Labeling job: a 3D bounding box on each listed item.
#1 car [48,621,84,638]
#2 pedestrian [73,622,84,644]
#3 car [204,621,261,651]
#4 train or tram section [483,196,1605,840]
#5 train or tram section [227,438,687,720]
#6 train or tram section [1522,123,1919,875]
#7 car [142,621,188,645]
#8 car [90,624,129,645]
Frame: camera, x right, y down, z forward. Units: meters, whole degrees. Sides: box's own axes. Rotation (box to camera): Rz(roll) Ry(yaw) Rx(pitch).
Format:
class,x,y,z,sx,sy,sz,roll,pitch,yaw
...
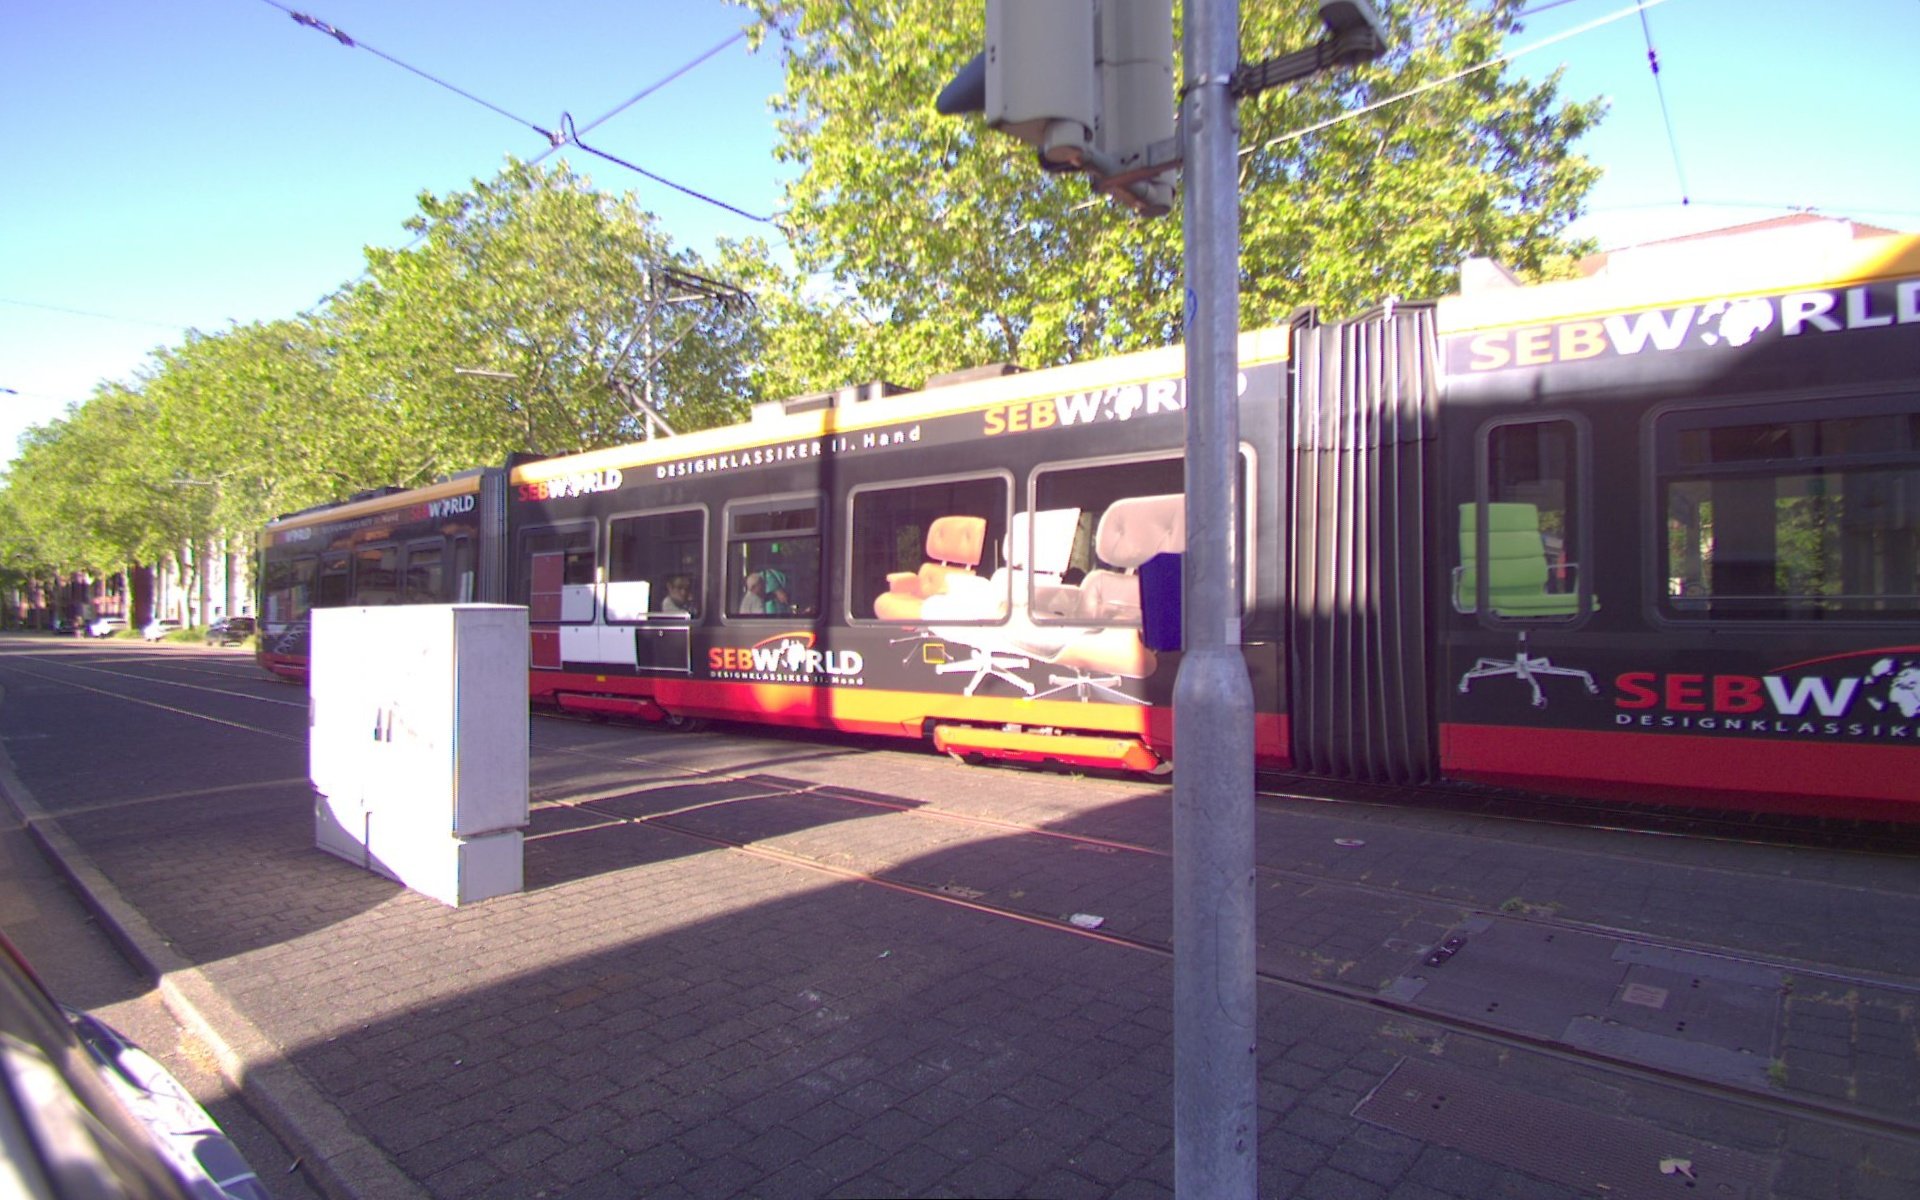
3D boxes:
class,x,y,z,sx,sy,sz,roll,pitch,yaw
car,-85.145,2.786,96.394,3.995,1.563,1.859,-1,-1,38
pedestrian,-67.390,2.490,77.343,0.677,1.654,0.570,-1,-2,43
car,-40.683,1.972,56.573,4.000,1.588,1.857,-1,-2,43
train or tram section,-0.476,-0.364,10.556,11.930,3.640,3.027,-1,-1,37
train or tram section,-9.928,-0.155,18.544,12.885,3.640,3.023,-1,-2,42
train or tram section,9.143,-0.540,3.924,12.070,3.640,3.033,-1,-1,31
car,-53.716,2.221,68.371,4.000,1.563,1.857,-1,-2,43
car,-66.873,2.706,79.553,4.000,1.563,1.857,-1,-2,43
